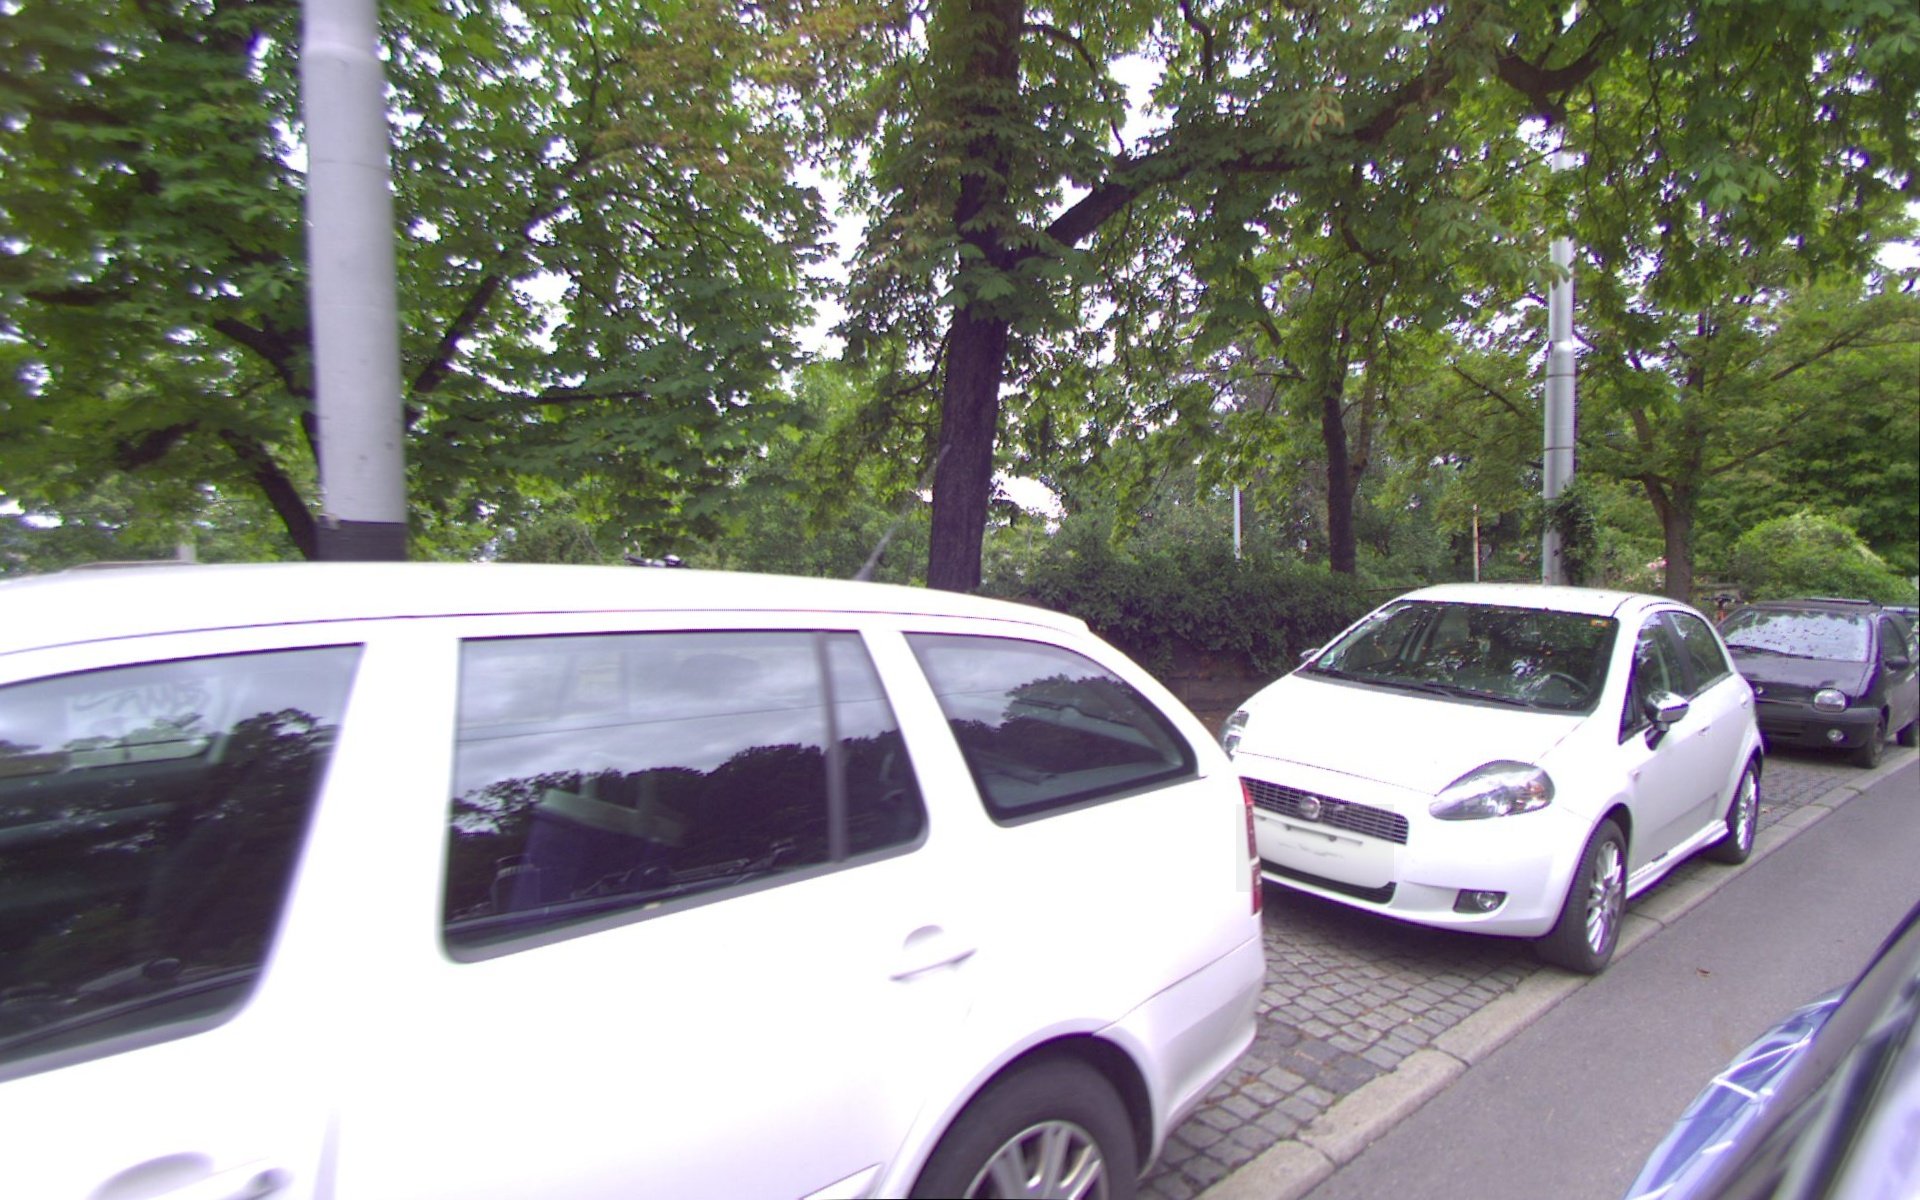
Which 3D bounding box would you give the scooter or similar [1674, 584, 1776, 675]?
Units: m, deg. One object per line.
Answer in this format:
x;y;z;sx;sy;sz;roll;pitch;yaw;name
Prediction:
11.726;0.423;15.489;1.962;1.258;0.563;-1;7;-35;scooter or similar

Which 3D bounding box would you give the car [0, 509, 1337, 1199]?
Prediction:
-1.359;0.614;1.523;4.288;1.479;1.679;0;3;-40;car

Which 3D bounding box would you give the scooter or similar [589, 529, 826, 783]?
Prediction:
-1.399;0.273;5.660;1.146;1.275;0.518;0;4;-37;scooter or similar

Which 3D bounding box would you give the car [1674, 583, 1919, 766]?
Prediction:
8.720;0.605;10.204;3.363;1.439;1.566;-1;5;-39;car

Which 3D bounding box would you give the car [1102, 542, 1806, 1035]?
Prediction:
2.721;0.567;5.134;3.967;1.489;1.719;0;5;-41;car

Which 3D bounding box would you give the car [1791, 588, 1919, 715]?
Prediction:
12.947;0.607;13.558;4.467;1.415;1.776;-1;3;-37;car
